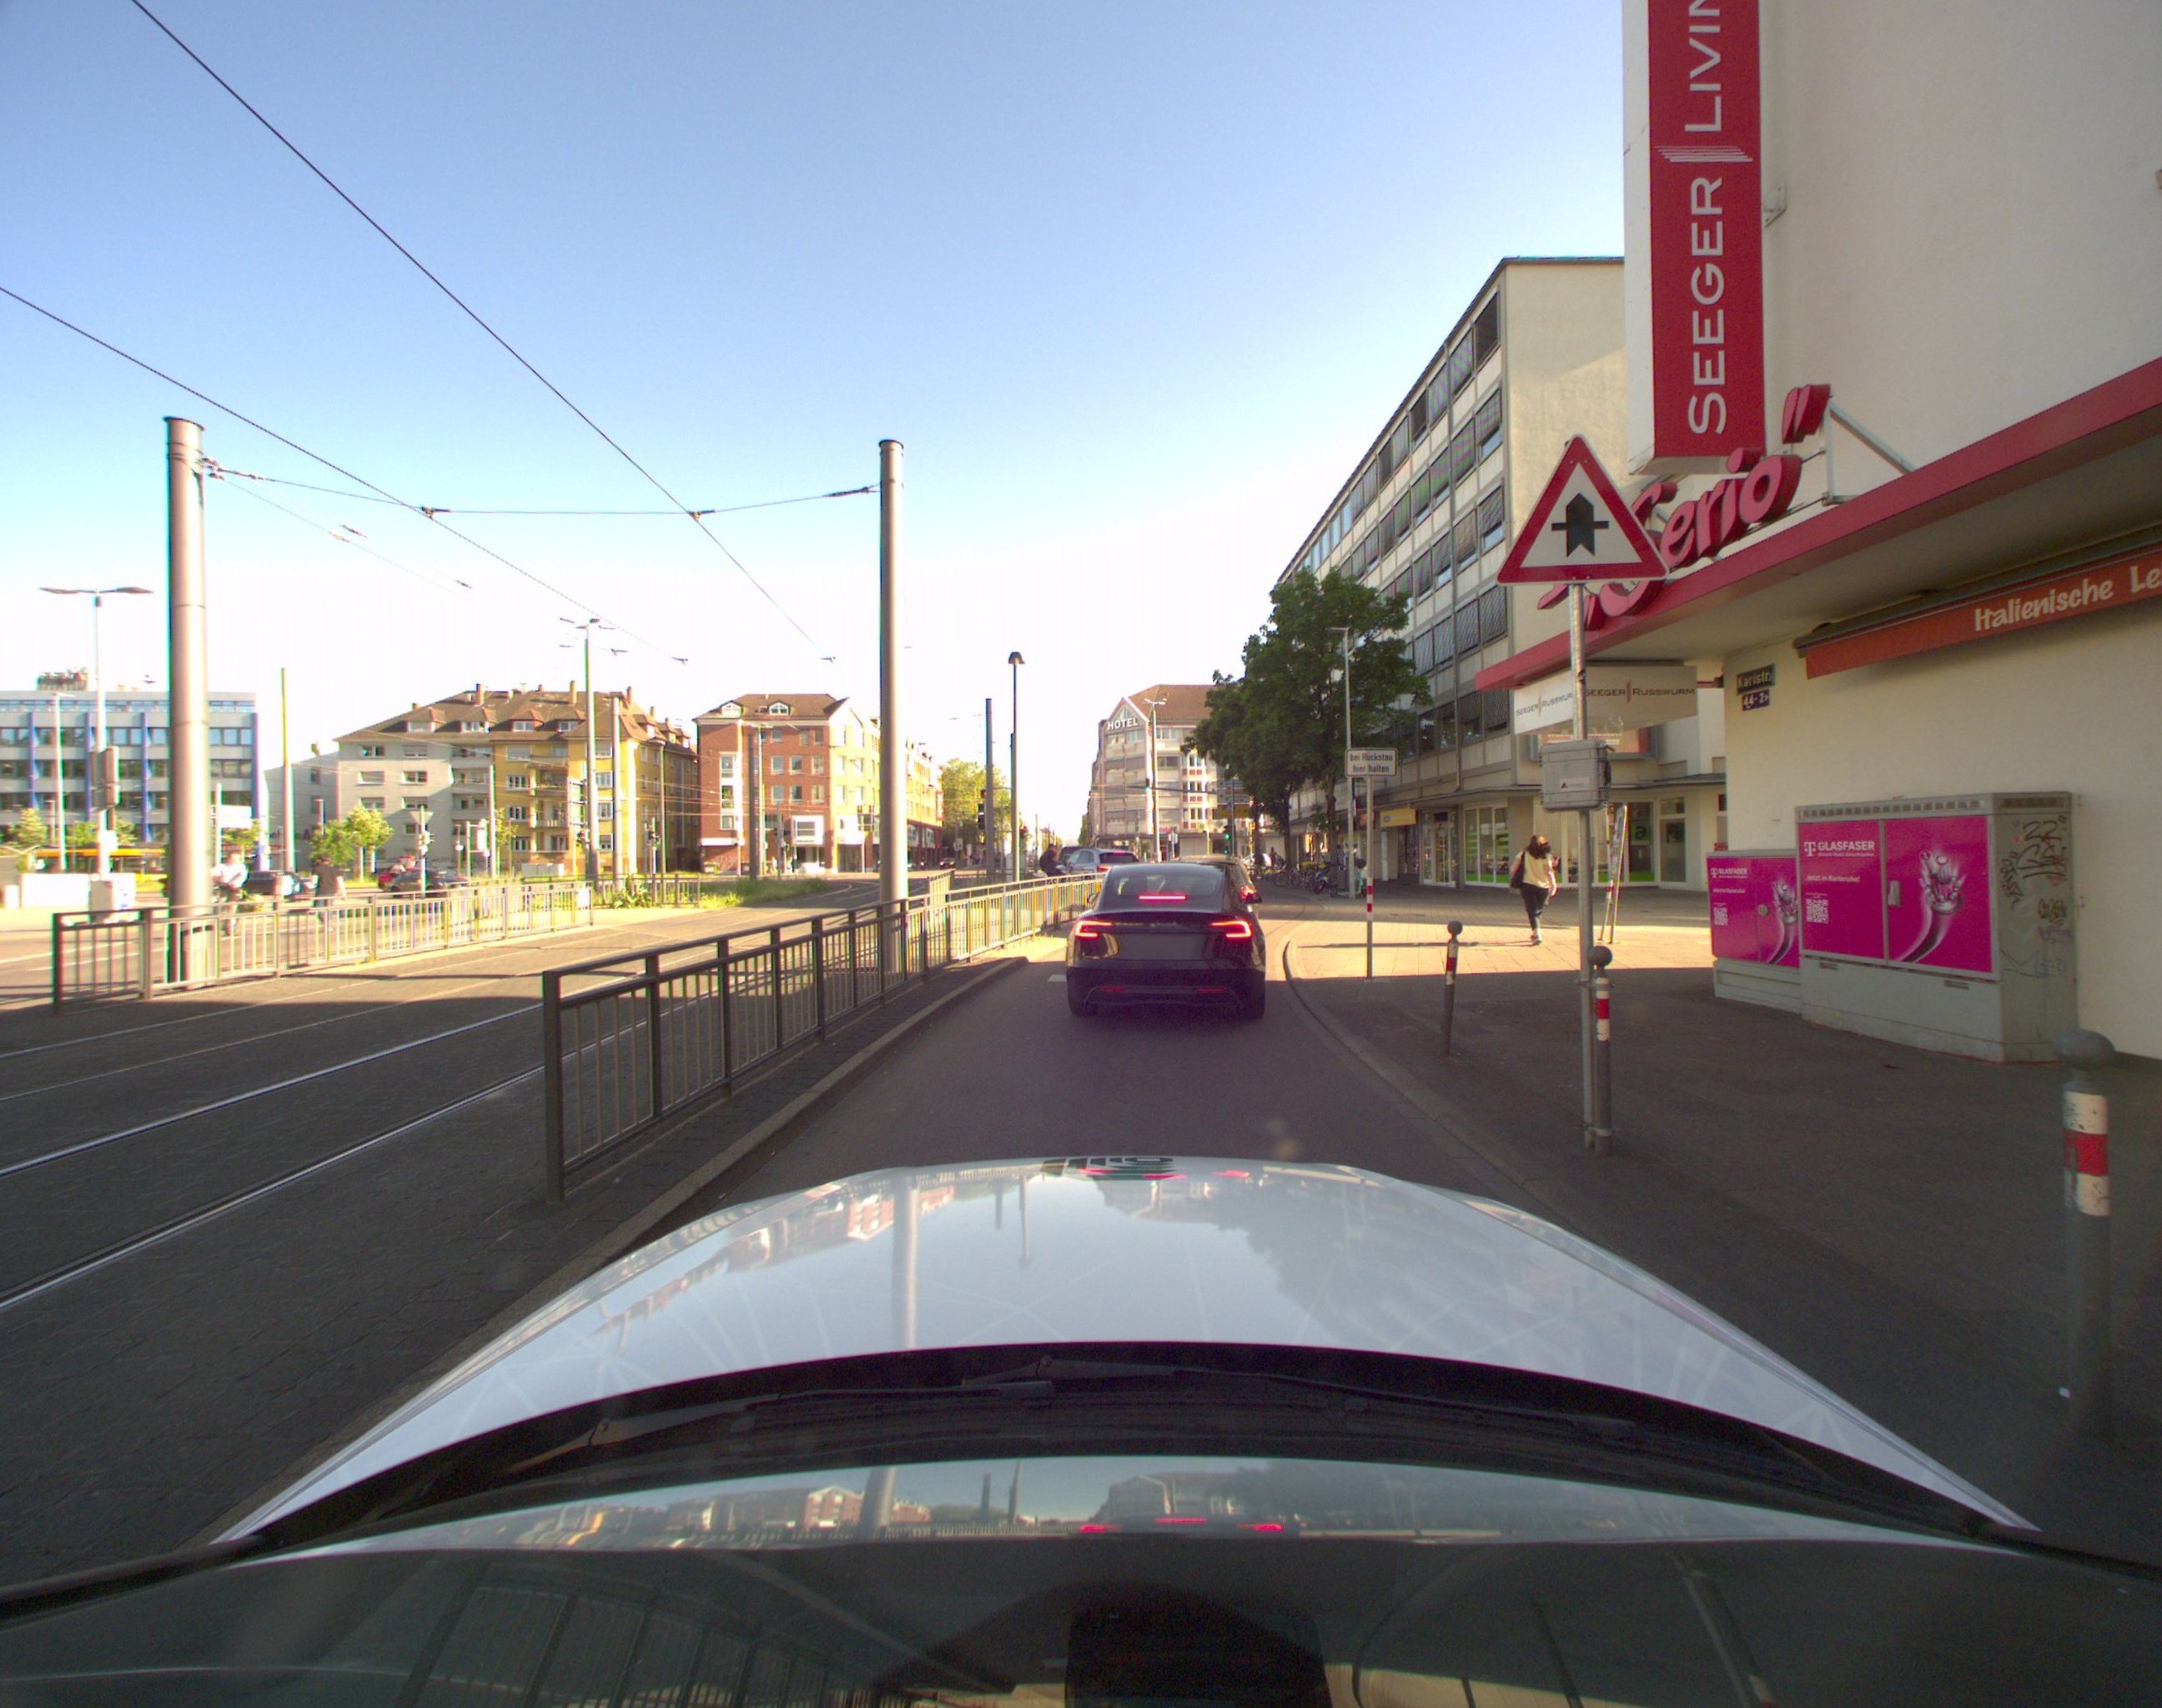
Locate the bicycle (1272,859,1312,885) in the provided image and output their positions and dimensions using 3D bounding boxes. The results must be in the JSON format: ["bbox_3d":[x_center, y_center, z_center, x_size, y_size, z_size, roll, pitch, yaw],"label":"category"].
[{"bbox_3d":[9.119,0.769,35.272,1.643,1.099,0.350,0,-1,3],"label":"bicycle"}]

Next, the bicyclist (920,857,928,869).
[{"bbox_3d":[-19.853,1.156,103.066,0.781,1.527,0.590,0,-1,6],"label":"bicyclist"}]

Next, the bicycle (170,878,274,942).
[{"bbox_3d":[-17.943,1.136,17.065,0.484,1.222,1.848,0,-1,-10],"label":"bicycle"}]

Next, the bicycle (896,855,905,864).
[{"bbox_3d":[-22.077,0.690,99.655,0.527,1.088,2.286,0,-1,4],"label":"bicycle"}]

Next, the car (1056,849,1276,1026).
[{"bbox_3d":[0.940,0.710,8.814,1.820,1.455,4.007,0,-1,7],"label":"car"}]

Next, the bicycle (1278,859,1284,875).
[{"bbox_3d":[12.580,0.820,51.293,0.330,1.034,1.260,-1,-1,12],"label":"bicycle"}]

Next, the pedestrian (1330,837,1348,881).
[{"bbox_3d":[11.928,0.236,37.604,0.659,2.014,0.580,0,-1,4],"label":"pedestrian"}]

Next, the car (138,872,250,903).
[{"bbox_3d":[-50.623,1.878,46.570,3.952,1.685,1.903,0,-1,-11],"label":"car"}]

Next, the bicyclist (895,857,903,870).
[{"bbox_3d":[-22.094,1.143,98.933,0.780,1.563,0.747,-1,0,3],"label":"bicyclist"}]

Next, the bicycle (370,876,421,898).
[{"bbox_3d":[-38.700,1.843,45.972,2.188,1.214,0.544,0,-1,-11],"label":"bicycle"}]

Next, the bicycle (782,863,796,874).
[{"bbox_3d":[-26.868,1.357,74.890,0.402,0.981,1.699,-1,-1,10],"label":"bicycle"}]

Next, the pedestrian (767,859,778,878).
[{"bbox_3d":[-29.333,1.403,77.399,0.780,1.820,0.747,0,-1,3],"label":"pedestrian"}]

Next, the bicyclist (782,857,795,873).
[{"bbox_3d":[-26.882,0.996,74.919,0.699,1.471,0.975,-1,-1,9],"label":"bicyclist"}]

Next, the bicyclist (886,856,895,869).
[{"bbox_3d":[-22.344,0.993,95.476,0.780,1.563,0.747,-1,0,3],"label":"bicyclist"}]

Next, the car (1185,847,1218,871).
[{"bbox_3d":[8.716,0.373,58.710,1.806,1.615,3.844,-1,-1,17],"label":"car"}]

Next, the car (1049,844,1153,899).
[{"bbox_3d":[0.562,0.541,26.623,1.891,1.662,4.126,0,-1,-23],"label":"car"}]

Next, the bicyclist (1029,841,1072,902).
[{"bbox_3d":[-0.850,0.470,22.371,0.763,1.628,0.967,0,-1,-37],"label":"bicyclist"}]

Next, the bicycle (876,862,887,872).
[{"bbox_3d":[-22.268,1.417,90.876,0.534,1.088,2.228,0,-1,5],"label":"bicycle"}]

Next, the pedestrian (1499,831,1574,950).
[{"bbox_3d":[7.032,0.546,12.637,0.906,1.752,1.044,-1,0,25],"label":"pedestrian"}]

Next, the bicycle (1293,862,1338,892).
[{"bbox_3d":[8.896,0.860,30.952,1.649,1.099,0.349,0,-1,-9],"label":"bicycle"}]

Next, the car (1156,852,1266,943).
[{"bbox_3d":[2.379,0.692,15.087,1.741,1.454,4.009,-1,0,8],"label":"car"}]

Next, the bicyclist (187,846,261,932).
[{"bbox_3d":[-17.968,0.721,17.102,0.756,1.759,0.750,0,-1,-11],"label":"bicyclist"}]

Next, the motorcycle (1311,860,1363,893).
[{"bbox_3d":[9.145,0.796,29.129,1.701,1.173,0.541,0,-1,0],"label":"motorcycle"}]

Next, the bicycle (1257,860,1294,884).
[{"bbox_3d":[9.141,0.836,38.225,1.643,1.099,0.350,0,-1,3],"label":"bicycle"}]

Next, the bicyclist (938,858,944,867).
[{"bbox_3d":[-23.125,1.378,134.750,0.780,1.563,0.747,0,-1,3],"label":"bicyclist"}]

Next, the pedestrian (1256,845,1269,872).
[{"bbox_3d":[11.502,0.277,51.612,0.697,1.662,0.777,0,-1,1],"label":"pedestrian"}]

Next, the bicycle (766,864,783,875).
[{"bbox_3d":[-25.827,1.295,68.569,0.522,0.972,2.247,0,-1,2],"label":"bicycle"}]

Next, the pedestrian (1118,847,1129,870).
[{"bbox_3d":[3.781,0.410,72.936,0.917,2.014,0.973,0,-1,1],"label":"pedestrian"}]

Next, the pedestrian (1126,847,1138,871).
[{"bbox_3d":[4.259,0.401,68.277,0.917,2.014,0.973,0,-1,1],"label":"pedestrian"}]

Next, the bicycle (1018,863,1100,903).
[{"bbox_3d":[-0.594,0.788,22.578,2.346,1.053,0.624,0,-1,-36],"label":"bicycle"}]

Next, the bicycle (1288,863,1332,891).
[{"bbox_3d":[8.818,0.877,31.375,1.649,1.061,0.349,0,-1,-9],"label":"bicycle"}]

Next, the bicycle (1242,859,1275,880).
[{"bbox_3d":[9.245,0.791,42.406,1.643,1.099,0.350,0,-1,3],"label":"bicycle"}]

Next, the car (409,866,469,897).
[{"bbox_3d":[-32.931,1.374,41.746,3.816,1.526,1.655,-1,-1,40],"label":"car"}]

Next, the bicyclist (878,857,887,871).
[{"bbox_3d":[-22.197,1.169,91.130,0.780,1.563,0.748,0,-1,6],"label":"bicyclist"}]

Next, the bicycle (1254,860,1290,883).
[{"bbox_3d":[9.206,0.841,39.251,1.643,1.099,0.350,0,-1,3],"label":"bicycle"}]

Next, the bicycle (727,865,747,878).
[{"bbox_3d":[-26.057,1.329,61.695,0.445,0.972,2.247,0,-1,2],"label":"bicycle"}]

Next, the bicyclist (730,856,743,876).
[{"bbox_3d":[-26.059,0.917,61.620,0.631,1.503,0.696,0,-1,1],"label":"bicyclist"}]

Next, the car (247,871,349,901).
[{"bbox_3d":[-45.493,1.838,47.388,3.984,1.672,1.772,0,-1,-8],"label":"car"}]

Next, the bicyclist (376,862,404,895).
[{"bbox_3d":[-38.934,1.365,45.912,0.900,1.808,0.788,0,-1,-11],"label":"bicyclist"}]

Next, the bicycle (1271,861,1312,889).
[{"bbox_3d":[8.618,0.847,33.333,1.649,1.099,0.349,0,-1,-9],"label":"bicycle"}]

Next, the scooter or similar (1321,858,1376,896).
[{"bbox_3d":[8.899,0.764,27.112,1.625,1.215,0.649,-1,-1,32],"label":"scooter or similar"}]

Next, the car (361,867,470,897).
[{"bbox_3d":[-39.456,1.654,48.383,4.585,1.700,1.993,0,-1,-10],"label":"car"}]

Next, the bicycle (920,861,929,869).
[{"bbox_3d":[-19.838,1.374,103.145,0.456,1.093,2.205,0,-1,6],"label":"bicycle"}]

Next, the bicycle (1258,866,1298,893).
[{"bbox_3d":[8.257,1.051,34.160,1.649,1.099,0.349,0,-1,-9],"label":"bicycle"}]

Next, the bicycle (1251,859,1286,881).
[{"bbox_3d":[9.282,0.798,40.264,1.643,1.099,0.350,0,-1,3],"label":"bicycle"}]

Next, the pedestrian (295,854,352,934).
[{"bbox_3d":[-16.292,0.841,17.515,0.585,1.681,0.779,-1,-1,35],"label":"pedestrian"}]

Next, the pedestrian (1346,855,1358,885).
[{"bbox_3d":[12.465,0.725,37.435,0.388,1.343,0.513,0,-1,4],"label":"pedestrian"}]

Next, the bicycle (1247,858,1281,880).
[{"bbox_3d":[9.264,0.761,41.312,1.643,1.099,0.350,-1,0,3],"label":"bicycle"}]

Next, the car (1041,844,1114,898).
[{"bbox_3d":[-0.202,0.664,32.731,1.997,2.014,3.980,-1,0,-15],"label":"car"}]

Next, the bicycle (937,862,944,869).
[{"bbox_3d":[-23.179,1.910,134.532,0.527,1.088,2.227,0,-1,4],"label":"bicycle"}]

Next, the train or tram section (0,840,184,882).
[{"bbox_3d":[-76.102,0.522,61.921,11.228,3.131,2.796,0,-1,-9],"label":"train or tram section"}]

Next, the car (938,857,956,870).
[{"bbox_3d":[-17.526,1.238,106.702,1.692,1.731,3.706,0,-1,0],"label":"car"}]

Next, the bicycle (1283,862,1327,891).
[{"bbox_3d":[8.732,0.859,31.802,1.649,1.099,0.349,0,-1,-9],"label":"bicycle"}]

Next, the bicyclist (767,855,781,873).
[{"bbox_3d":[-25.857,0.865,68.537,0.895,1.503,0.696,0,-1,1],"label":"bicyclist"}]

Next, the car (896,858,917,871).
[{"bbox_3d":[-19.896,1.195,92.918,1.706,1.527,4.032,0,-1,-3],"label":"car"}]

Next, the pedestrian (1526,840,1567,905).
[{"bbox_3d":[12.392,0.484,21.711,0.881,1.667,0.813,-1,-1,25],"label":"pedestrian"}]

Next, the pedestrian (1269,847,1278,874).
[{"bbox_3d":[12.207,0.432,51.716,0.522,1.710,0.405,-1,-1,18],"label":"pedestrian"}]

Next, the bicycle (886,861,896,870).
[{"bbox_3d":[-22.298,1.321,95.454,0.527,1.088,2.286,0,0,4],"label":"bicycle"}]
